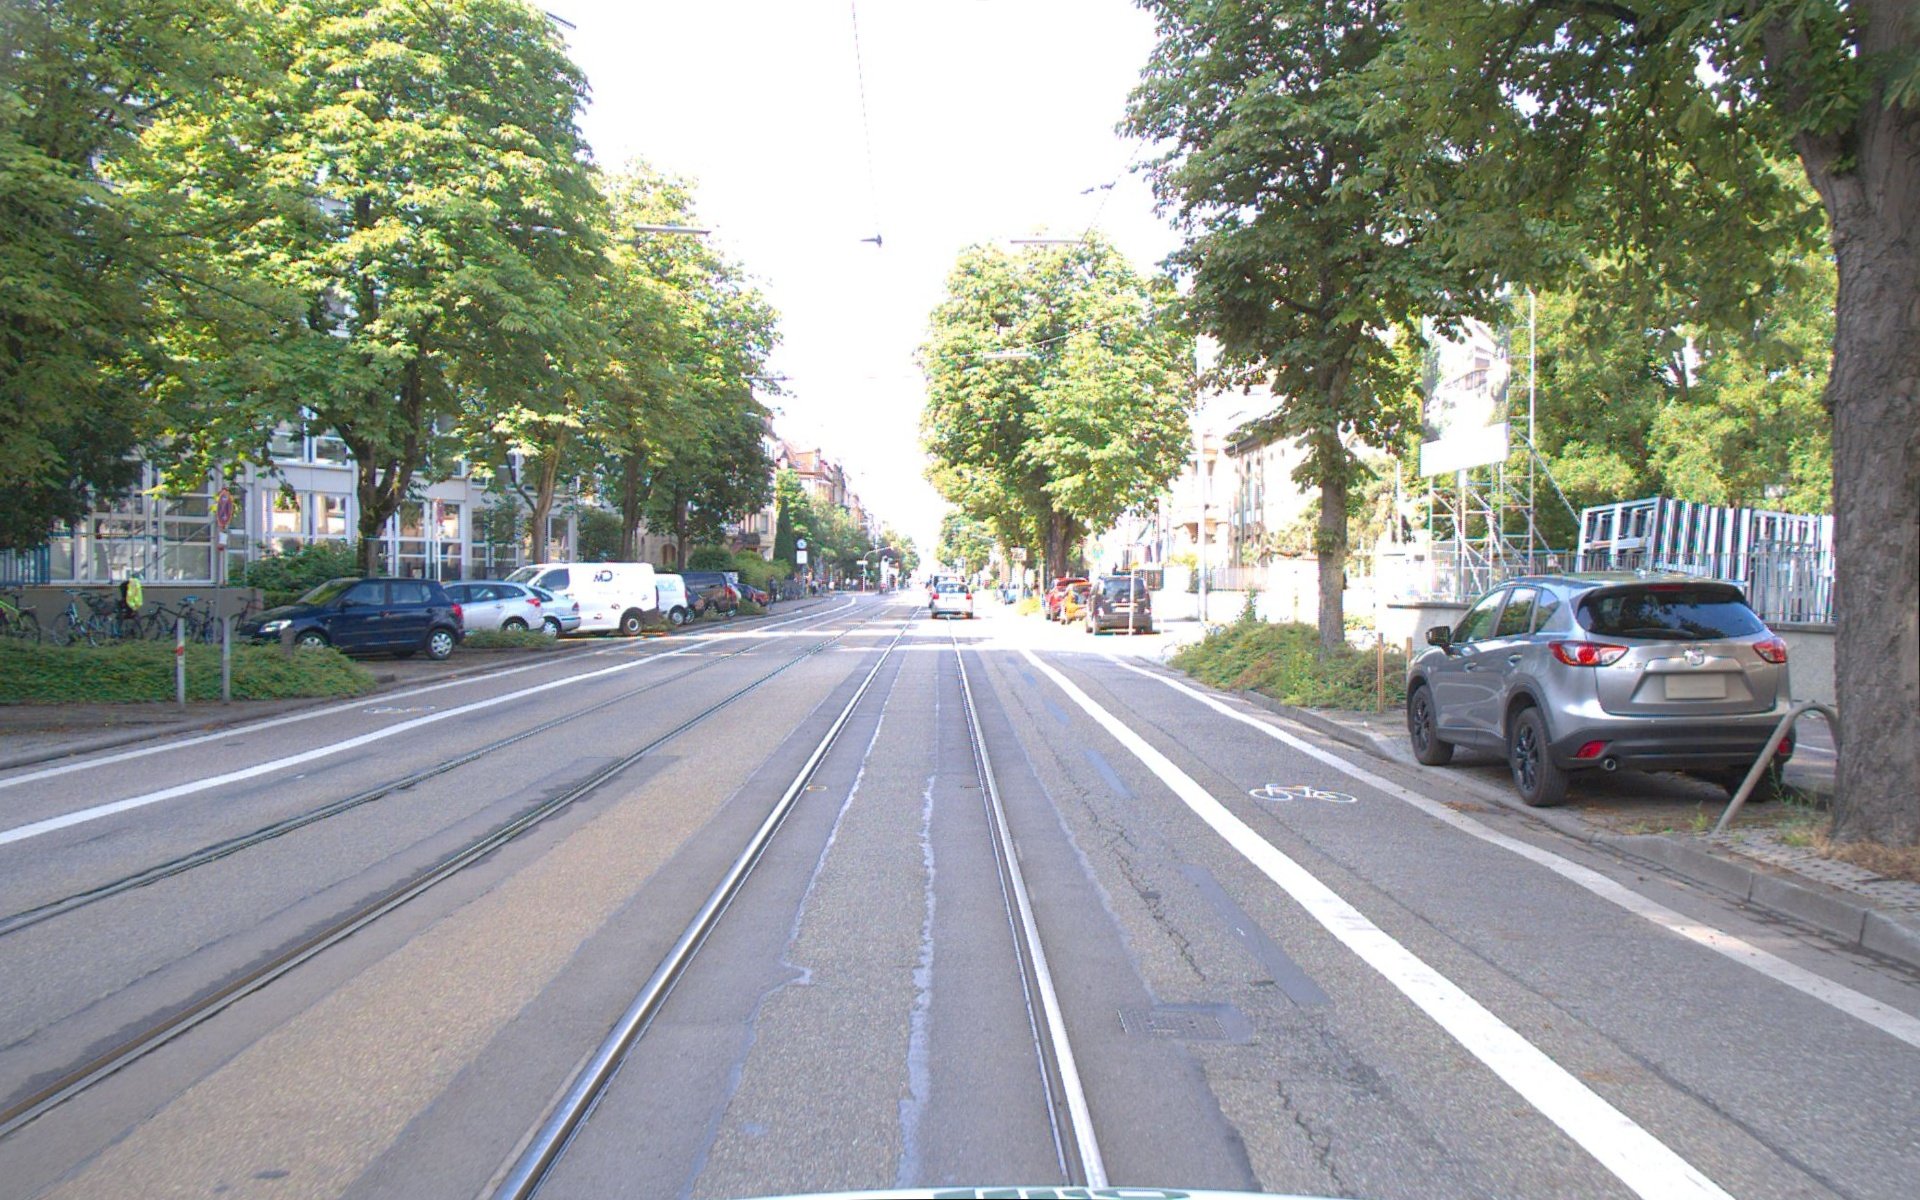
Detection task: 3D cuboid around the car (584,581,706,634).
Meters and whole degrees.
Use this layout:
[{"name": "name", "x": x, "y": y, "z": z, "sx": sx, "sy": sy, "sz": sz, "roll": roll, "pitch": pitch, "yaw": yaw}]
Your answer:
[{"name": "car", "x": -10.780, "y": 0.261, "z": 56.771, "sx": 1.851, "sy": 1.742, "sz": 3.734, "roll": 1, "pitch": 0, "yaw": 43}]

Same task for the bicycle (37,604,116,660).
[{"name": "bicycle", "x": -17.758, "y": 0.635, "z": 33.236, "sx": 1.859, "sy": 1.088, "sz": 0.436, "roll": 1, "pitch": -1, "yaw": 29}]

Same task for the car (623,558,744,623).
[{"name": "car", "x": -10.486, "y": -0.352, "z": 63.003, "sx": 1.851, "sy": 2.117, "sz": 4.176, "roll": 3, "pitch": -1, "yaw": 43}]

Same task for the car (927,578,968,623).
[{"name": "car", "x": -0.510, "y": 0.035, "z": 66.177, "sx": 1.588, "sy": 1.713, "sz": 3.564, "roll": 1, "pitch": 0, "yaw": -1}]

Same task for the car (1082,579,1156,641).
[{"name": "car", "x": 4.486, "y": 0.242, "z": 47.050, "sx": 1.640, "sy": 1.639, "sz": 3.584, "roll": -2, "pitch": 1, "yaw": -1}]

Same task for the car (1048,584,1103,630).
[{"name": "car", "x": 4.555, "y": 0.280, "z": 65.660, "sx": 1.919, "sy": 1.736, "sz": 4.000, "roll": 1, "pitch": 0, "yaw": 1}]

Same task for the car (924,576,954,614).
[{"name": "car", "x": -1.185, "y": -0.262, "z": 91.497, "sx": 1.588, "sy": 2.035, "sz": 3.564, "roll": 1, "pitch": 0, "yaw": -1}]

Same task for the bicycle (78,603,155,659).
[{"name": "bicycle", "x": -17.326, "y": 0.629, "z": 33.960, "sx": 1.859, "sy": 1.088, "sz": 0.436, "roll": 1, "pitch": -1, "yaw": 29}]

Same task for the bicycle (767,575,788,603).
[{"name": "bicycle", "x": -11.665, "y": -0.696, "z": 105.851, "sx": 0.919, "sy": 1.777, "sz": 2.285, "roll": 1, "pitch": 0, "yaw": 5}]

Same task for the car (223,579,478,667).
[{"name": "car", "x": -10.934, "y": 0.415, "z": 29.844, "sx": 3.968, "sy": 1.488, "sz": 1.732, "roll": 1, "pitch": 0, "yaw": -44}]

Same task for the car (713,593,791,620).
[{"name": "car", "x": -10.726, "y": 0.339, "z": 85.415, "sx": 3.750, "sy": 1.329, "sz": 1.615, "roll": 1, "pitch": -1, "yaw": -40}]

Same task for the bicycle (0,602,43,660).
[{"name": "bicycle", "x": -18.440, "y": 0.578, "z": 31.842, "sx": 1.859, "sy": 1.088, "sz": 0.436, "roll": 1, "pitch": -1, "yaw": 29}]

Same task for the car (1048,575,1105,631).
[{"name": "car", "x": 4.093, "y": 0.067, "z": 58.581, "sx": 1.640, "sy": 1.639, "sz": 3.586, "roll": -2, "pitch": 4, "yaw": -1}]

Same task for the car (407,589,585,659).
[{"name": "car", "x": -11.109, "y": 0.550, "z": 39.728, "sx": 3.755, "sy": 1.501, "sz": 1.698, "roll": -3, "pitch": 1, "yaw": -44}]

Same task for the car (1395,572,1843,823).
[{"name": "car", "x": 4.945, "y": 0.606, "z": 13.156, "sx": 1.729, "sy": 1.635, "sz": 4.458, "roll": -1, "pitch": 1, "yaw": -1}]

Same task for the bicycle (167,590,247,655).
[{"name": "bicycle", "x": -16.602, "y": 0.499, "z": 36.442, "sx": 1.857, "sy": 1.388, "sz": 0.437, "roll": 1, "pitch": -1, "yaw": 23}]

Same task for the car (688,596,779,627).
[{"name": "car", "x": -10.105, "y": 0.518, "z": 74.001, "sx": 3.750, "sy": 1.329, "sz": 1.615, "roll": 1, "pitch": -1, "yaw": -40}]

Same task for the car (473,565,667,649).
[{"name": "car", "x": -10.249, "y": 0.156, "z": 43.701, "sx": 4.605, "sy": 1.945, "sz": 1.902, "roll": -4, "pitch": 2, "yaw": -43}]

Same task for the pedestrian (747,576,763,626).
[{"name": "pedestrian", "x": -8.563, "y": 0.042, "z": 69.059, "sx": 0.603, "sy": 2.049, "sz": 0.501, "roll": 1, "pitch": -1, "yaw": -2}]

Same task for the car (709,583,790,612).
[{"name": "car", "x": -10.420, "y": -0.112, "z": 81.968, "sx": 3.750, "sy": 1.329, "sz": 1.615, "roll": 1, "pitch": -1, "yaw": -40}]

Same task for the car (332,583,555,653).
[{"name": "car", "x": -11.255, "y": 0.400, "z": 36.285, "sx": 1.709, "sy": 1.451, "sz": 4.434, "roll": 0, "pitch": -1, "yaw": 42}]

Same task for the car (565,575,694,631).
[{"name": "car", "x": -10.667, "y": 0.101, "z": 53.507, "sx": 1.851, "sy": 1.742, "sz": 3.734, "roll": 1, "pitch": 0, "yaw": 43}]

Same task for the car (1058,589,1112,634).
[{"name": "car", "x": 4.400, "y": 0.392, "z": 58.567, "sx": 1.633, "sy": 1.512, "sz": 3.279, "roll": -1, "pitch": 0, "yaw": -1}]
